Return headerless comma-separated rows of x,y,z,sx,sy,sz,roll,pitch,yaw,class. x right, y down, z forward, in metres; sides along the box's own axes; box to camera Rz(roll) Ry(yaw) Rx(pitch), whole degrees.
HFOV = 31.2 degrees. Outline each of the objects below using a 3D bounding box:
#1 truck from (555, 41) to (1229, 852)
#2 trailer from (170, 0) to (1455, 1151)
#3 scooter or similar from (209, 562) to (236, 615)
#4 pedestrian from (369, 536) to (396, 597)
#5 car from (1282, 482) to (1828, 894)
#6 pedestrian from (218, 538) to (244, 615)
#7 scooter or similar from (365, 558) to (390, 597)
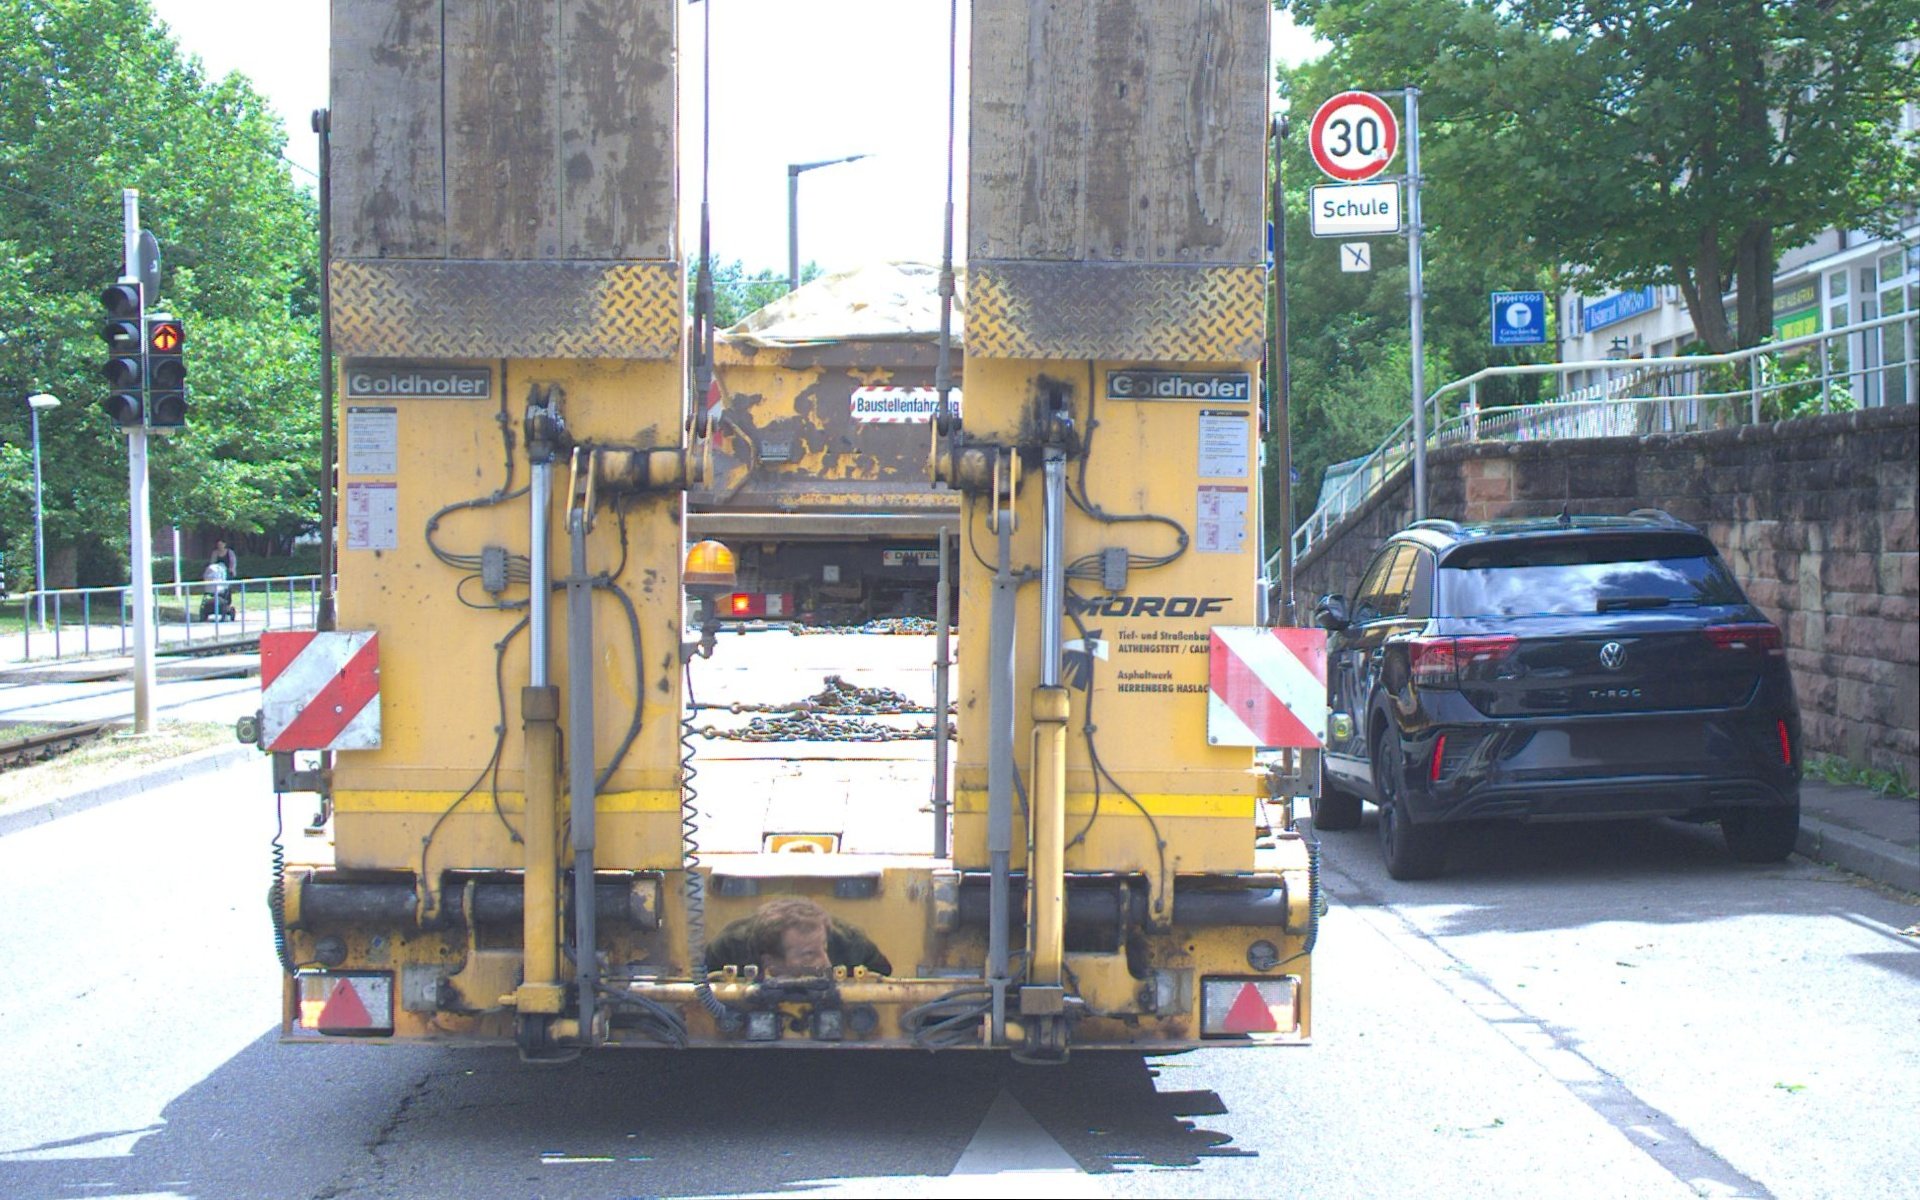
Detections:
-0.303,-0.730,17.735,2.942,3.560,4.877,-1,1,0,truck
-0.323,-0.620,12.323,2.945,3.589,8.684,-1,1,0,trailer
-14.666,-0.233,68.390,0.338,1.054,0.687,-1,1,2,scooter or similar
-14.388,-0.834,85.707,0.563,1.508,0.646,1,1,-1,pedestrian
2.649,0.328,16.219,1.851,1.633,4.000,-2,1,0,car
-14.644,-0.470,69.043,0.348,1.531,0.557,-1,1,3,pedestrian
-14.402,-0.558,85.057,0.505,0.968,0.646,1,1,-1,scooter or similar
